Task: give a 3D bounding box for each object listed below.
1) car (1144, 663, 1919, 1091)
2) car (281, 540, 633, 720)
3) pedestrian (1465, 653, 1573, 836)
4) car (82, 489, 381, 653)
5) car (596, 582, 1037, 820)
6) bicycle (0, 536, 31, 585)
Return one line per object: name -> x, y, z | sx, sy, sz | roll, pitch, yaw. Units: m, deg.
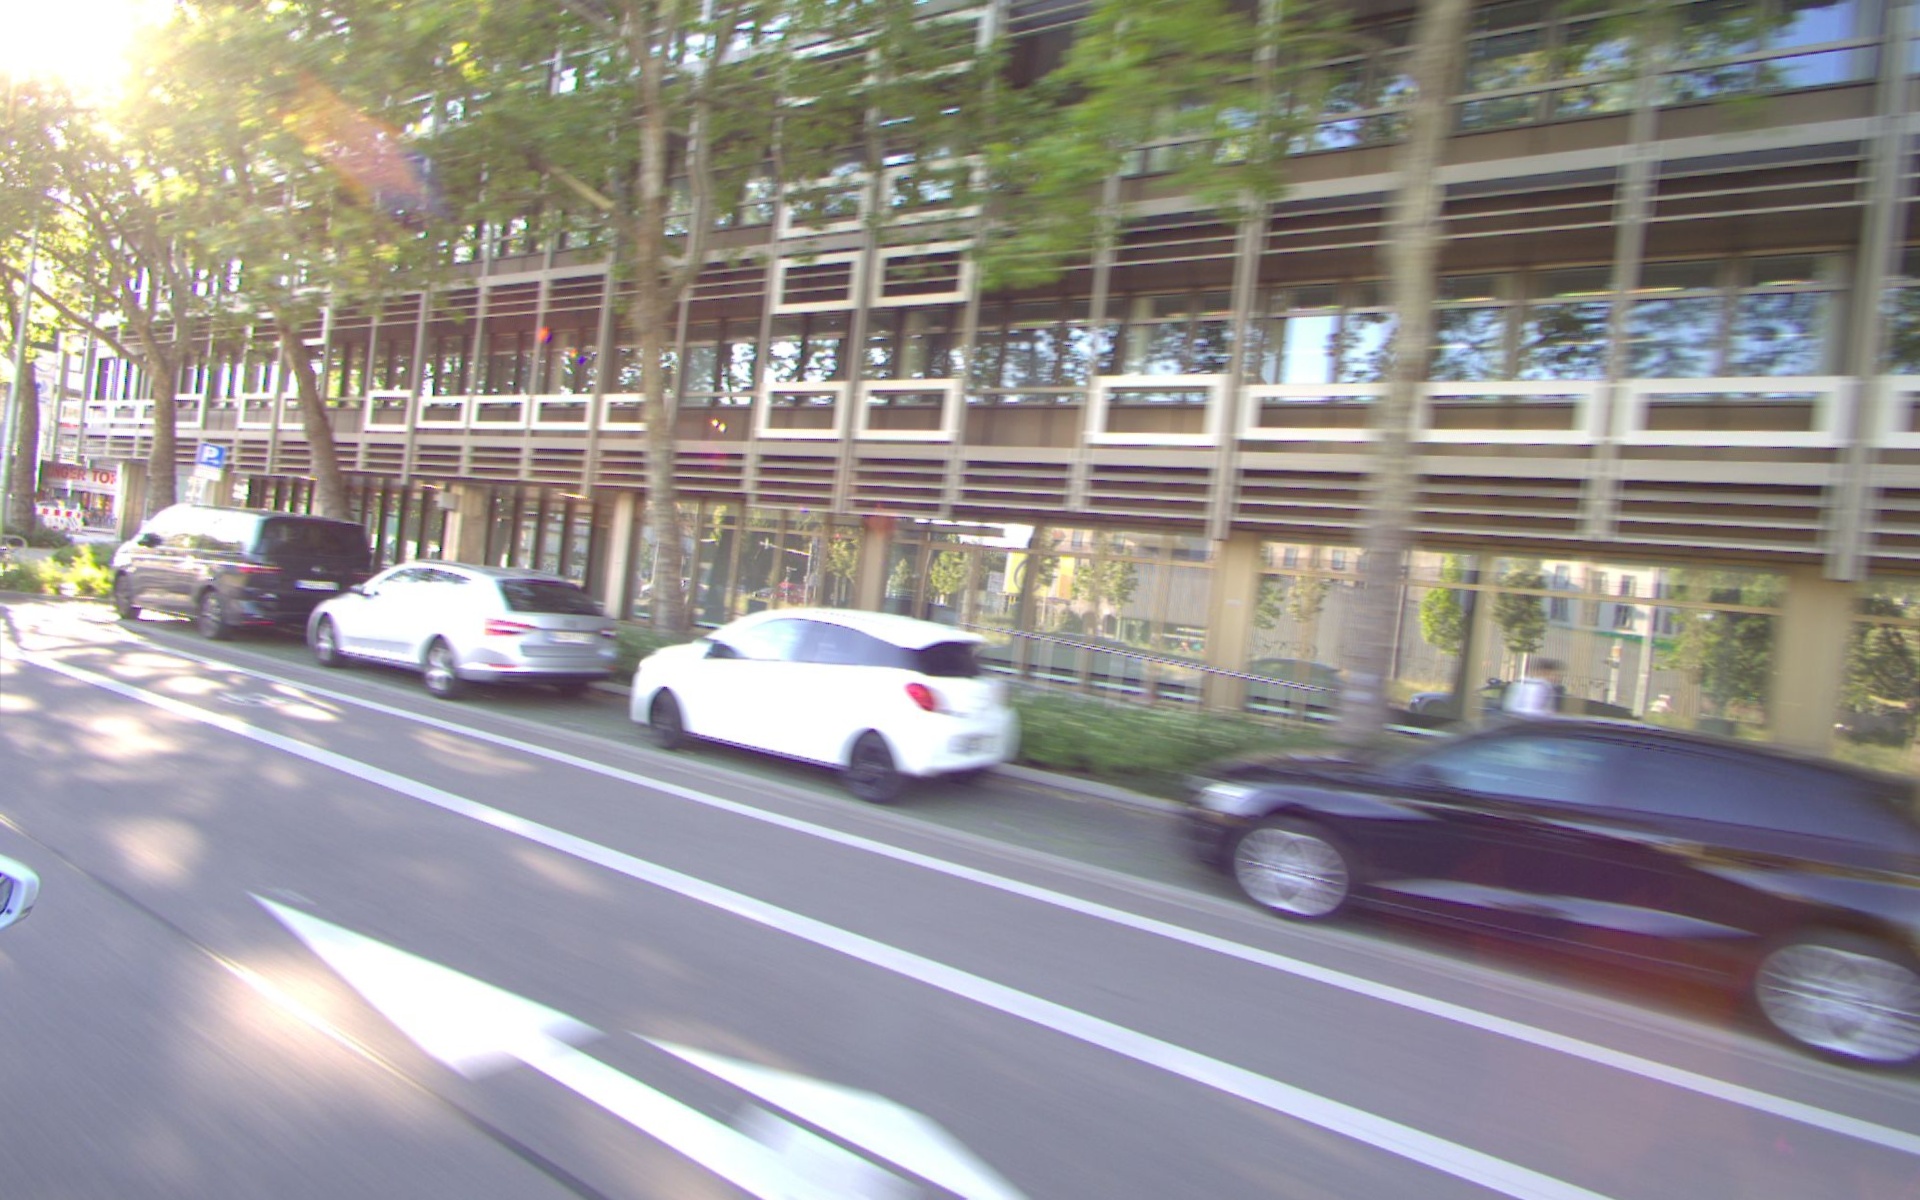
car -> 3.483, 1.384, 6.138 | 4.205, 1.437, 1.707 | 7, 2, 32
car -> -6.316, 0.259, 12.357 | 4.980, 1.534, 1.680 | 7, 2, 36
pedestrian -> 6.296, 1.593, 11.342 | 0.833, 1.879, 0.833 | 7, 0, 31
car -> -11.404, -0.502, 15.627 | 5.233, 1.997, 1.830 | 7, 2, 32
car -> -1.417, 0.793, 9.428 | 3.810, 1.498, 1.682 | 7, 2, 32
bicycle -> -18.617, -0.808, 18.843 | 0.564, 0.878, 1.690 | 7, 1, 39
